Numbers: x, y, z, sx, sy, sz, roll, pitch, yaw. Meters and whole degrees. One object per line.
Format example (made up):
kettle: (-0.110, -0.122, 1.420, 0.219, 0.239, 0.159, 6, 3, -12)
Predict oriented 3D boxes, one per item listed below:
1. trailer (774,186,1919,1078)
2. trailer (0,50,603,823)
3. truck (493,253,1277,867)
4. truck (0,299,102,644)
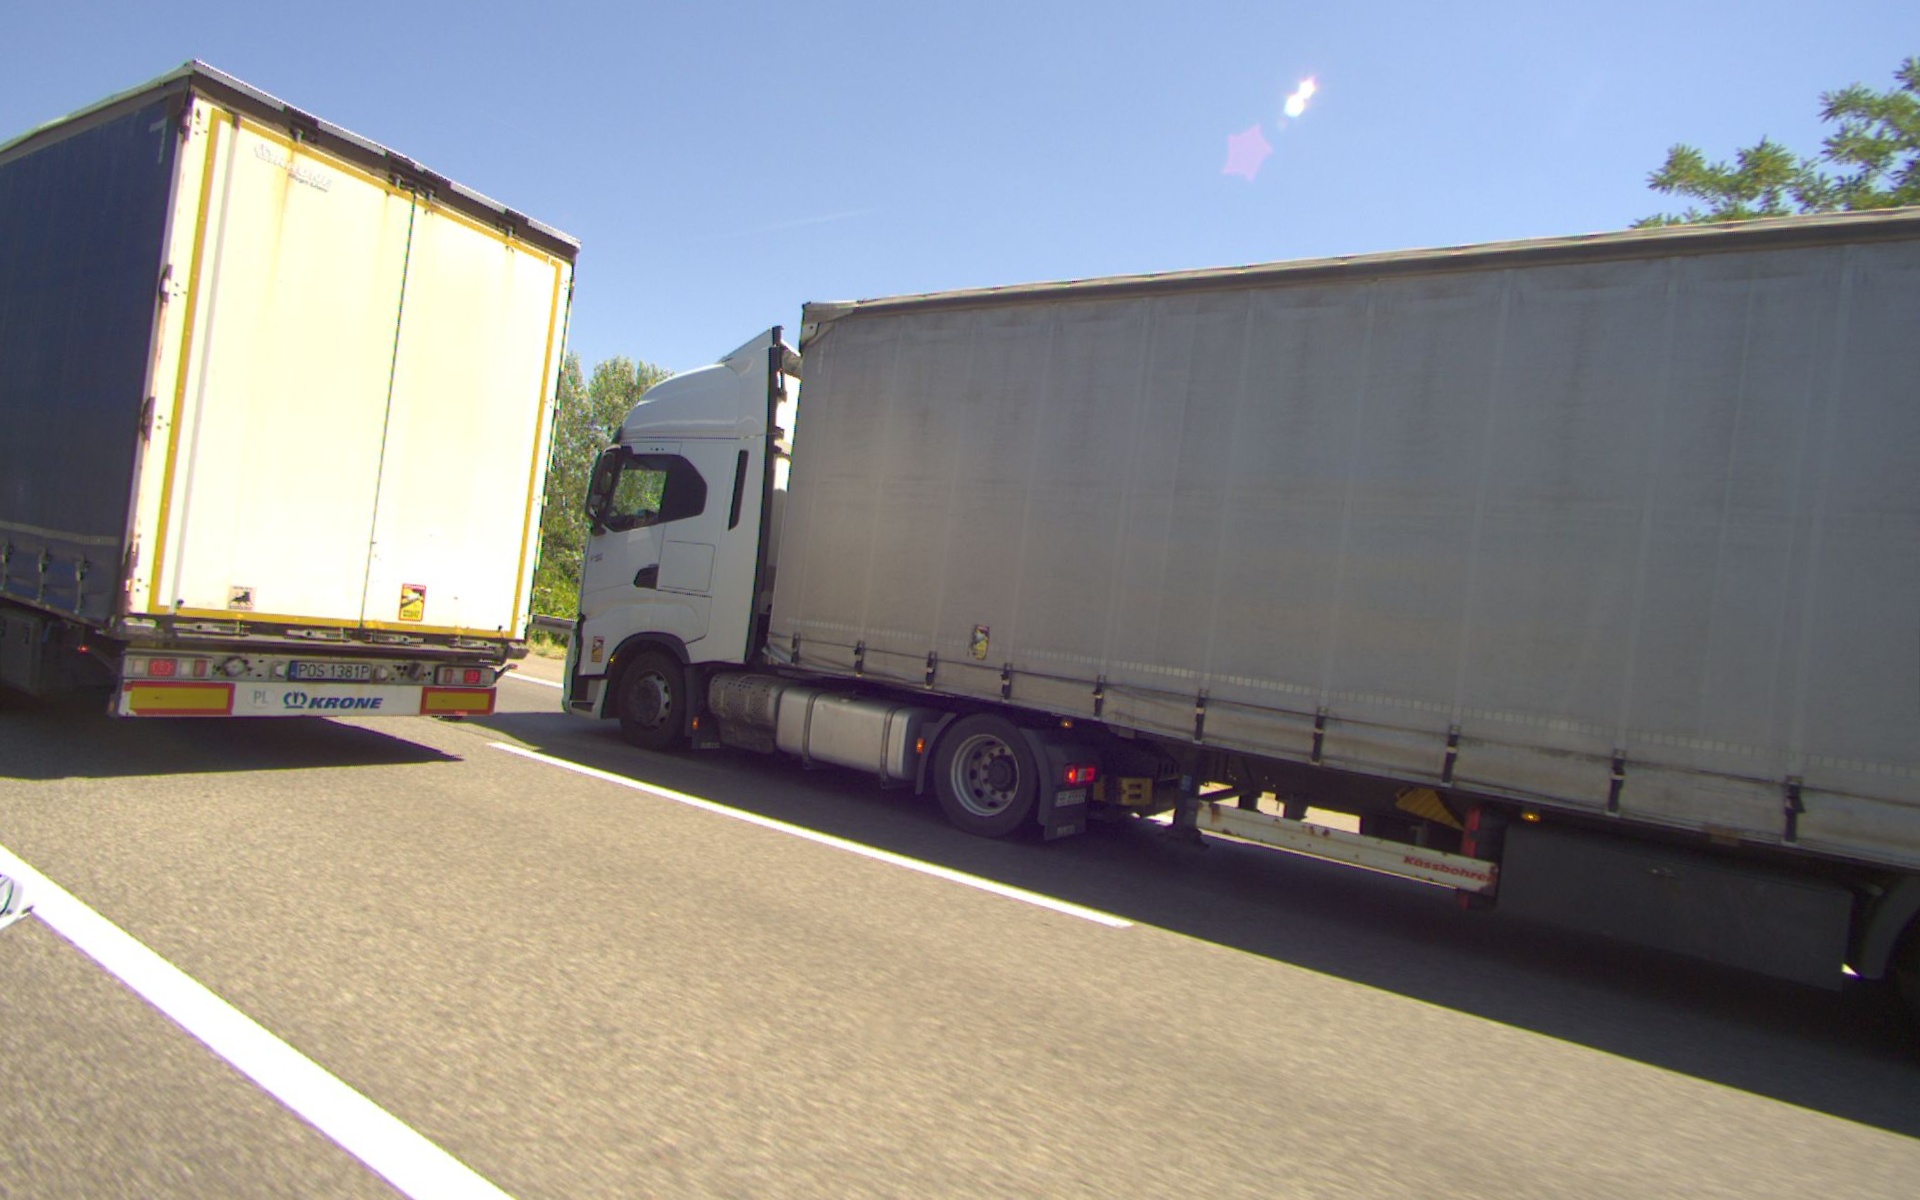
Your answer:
trailer: (4.879, 0.203, 6.053, 13.023, 4.166, 2.705, 6, -2, 32)
trailer: (-8.687, -1.273, 9.724, 11.933, 4.166, 2.705, 6, -2, 32)
truck: (-0.971, -0.448, 9.741, 6.875, 4.166, 2.705, 6, -1, 32)
truck: (-14.996, -1.934, 13.696, 6.875, 4.166, 2.705, 6, -1, 32)
